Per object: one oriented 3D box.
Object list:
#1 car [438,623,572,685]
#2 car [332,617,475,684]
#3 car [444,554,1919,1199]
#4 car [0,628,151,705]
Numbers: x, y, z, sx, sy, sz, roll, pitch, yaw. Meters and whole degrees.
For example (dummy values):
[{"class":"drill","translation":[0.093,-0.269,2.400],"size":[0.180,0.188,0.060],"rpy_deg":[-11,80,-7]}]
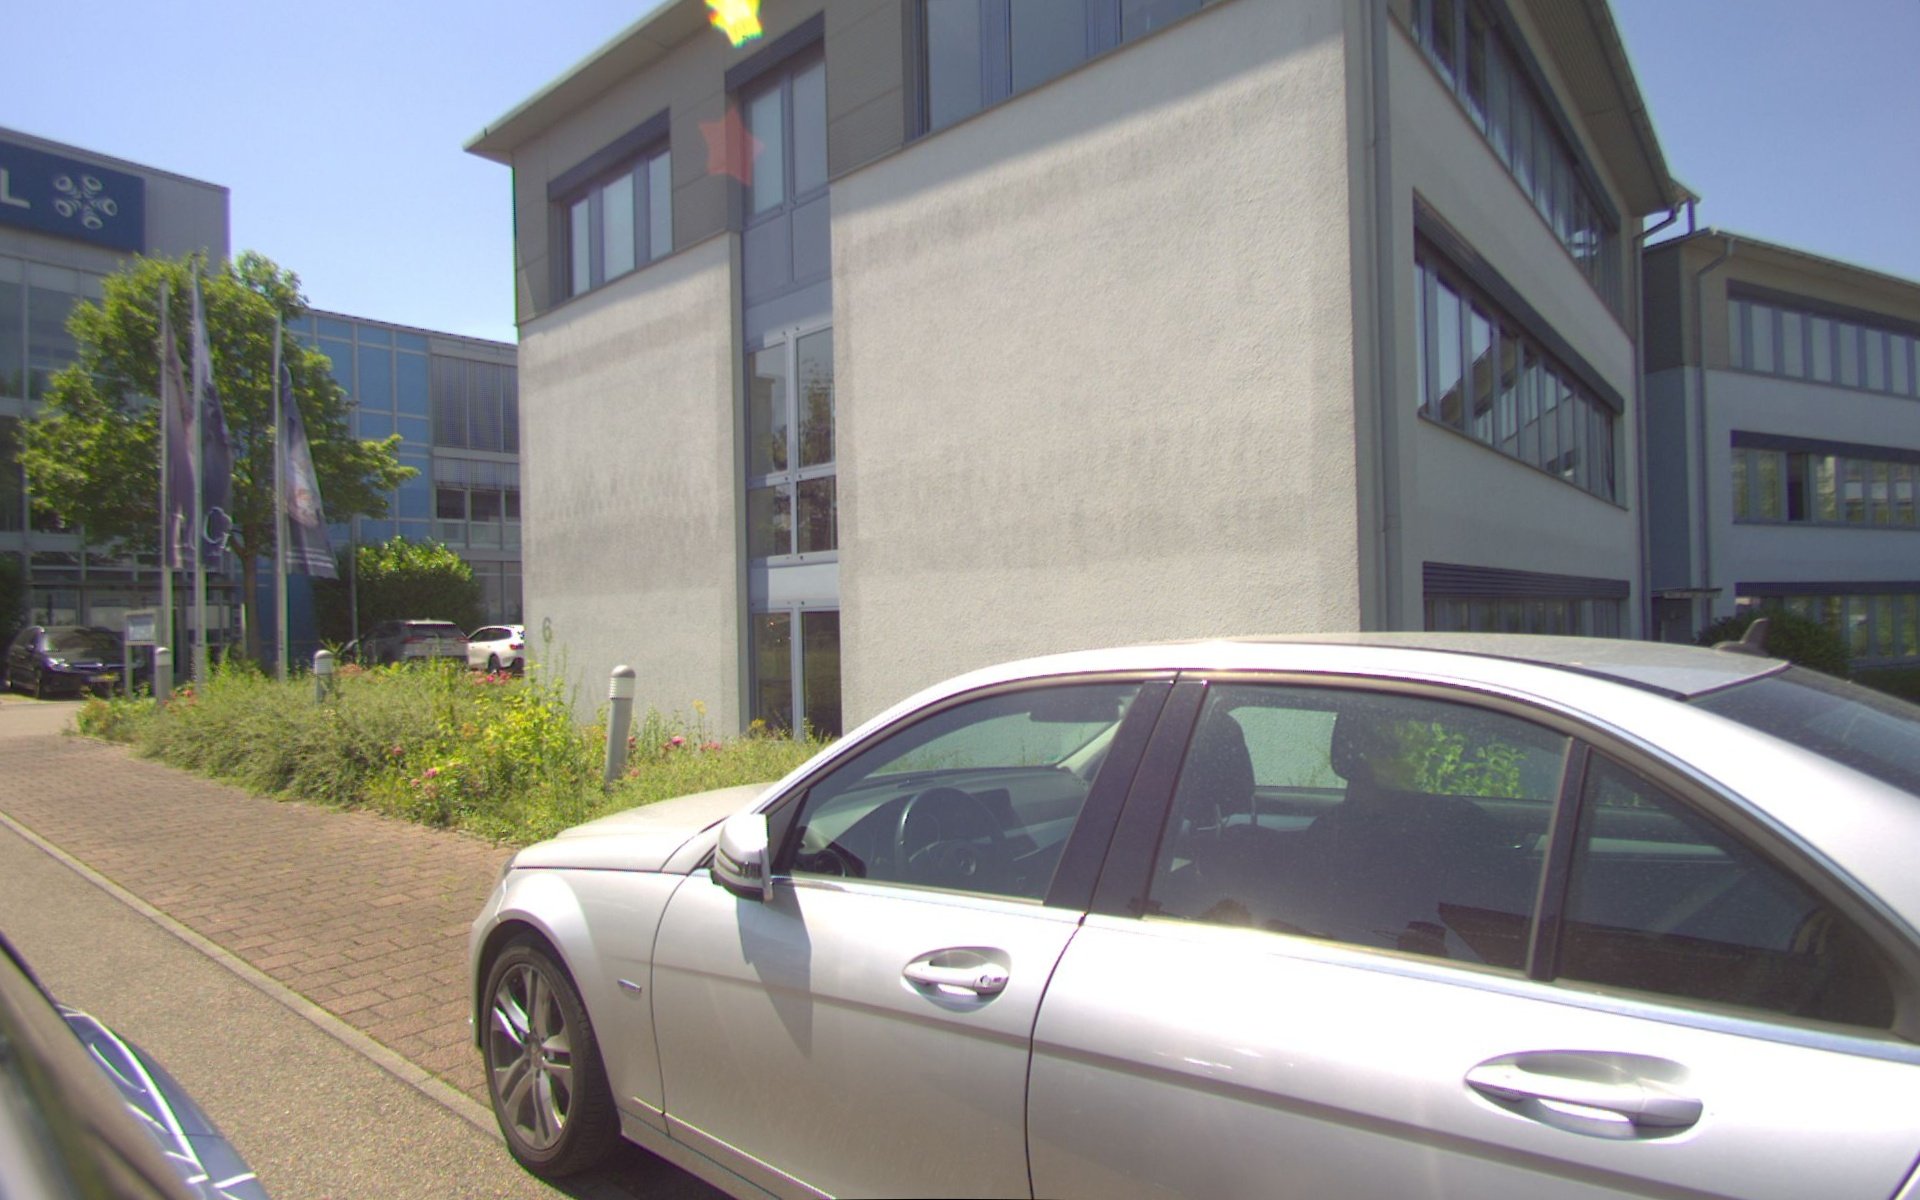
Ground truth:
[{"class":"car","translation":[-12.984,1.496,28.804],"size":[4.167,1.650,1.809],"rpy_deg":[-1,-2,39]},{"class":"car","translation":[-14.879,1.311,26.976],"size":[4.164,1.650,1.810],"rpy_deg":[-1,-2,37]},{"class":"car","translation":[0.663,0.733,2.168],"size":[4.145,1.468,1.711],"rpy_deg":[-2,-2,41]},{"class":"car","translation":[-19.064,1.354,21.682],"size":[4.390,1.495,1.709],"rpy_deg":[-1,-2,38]}]
